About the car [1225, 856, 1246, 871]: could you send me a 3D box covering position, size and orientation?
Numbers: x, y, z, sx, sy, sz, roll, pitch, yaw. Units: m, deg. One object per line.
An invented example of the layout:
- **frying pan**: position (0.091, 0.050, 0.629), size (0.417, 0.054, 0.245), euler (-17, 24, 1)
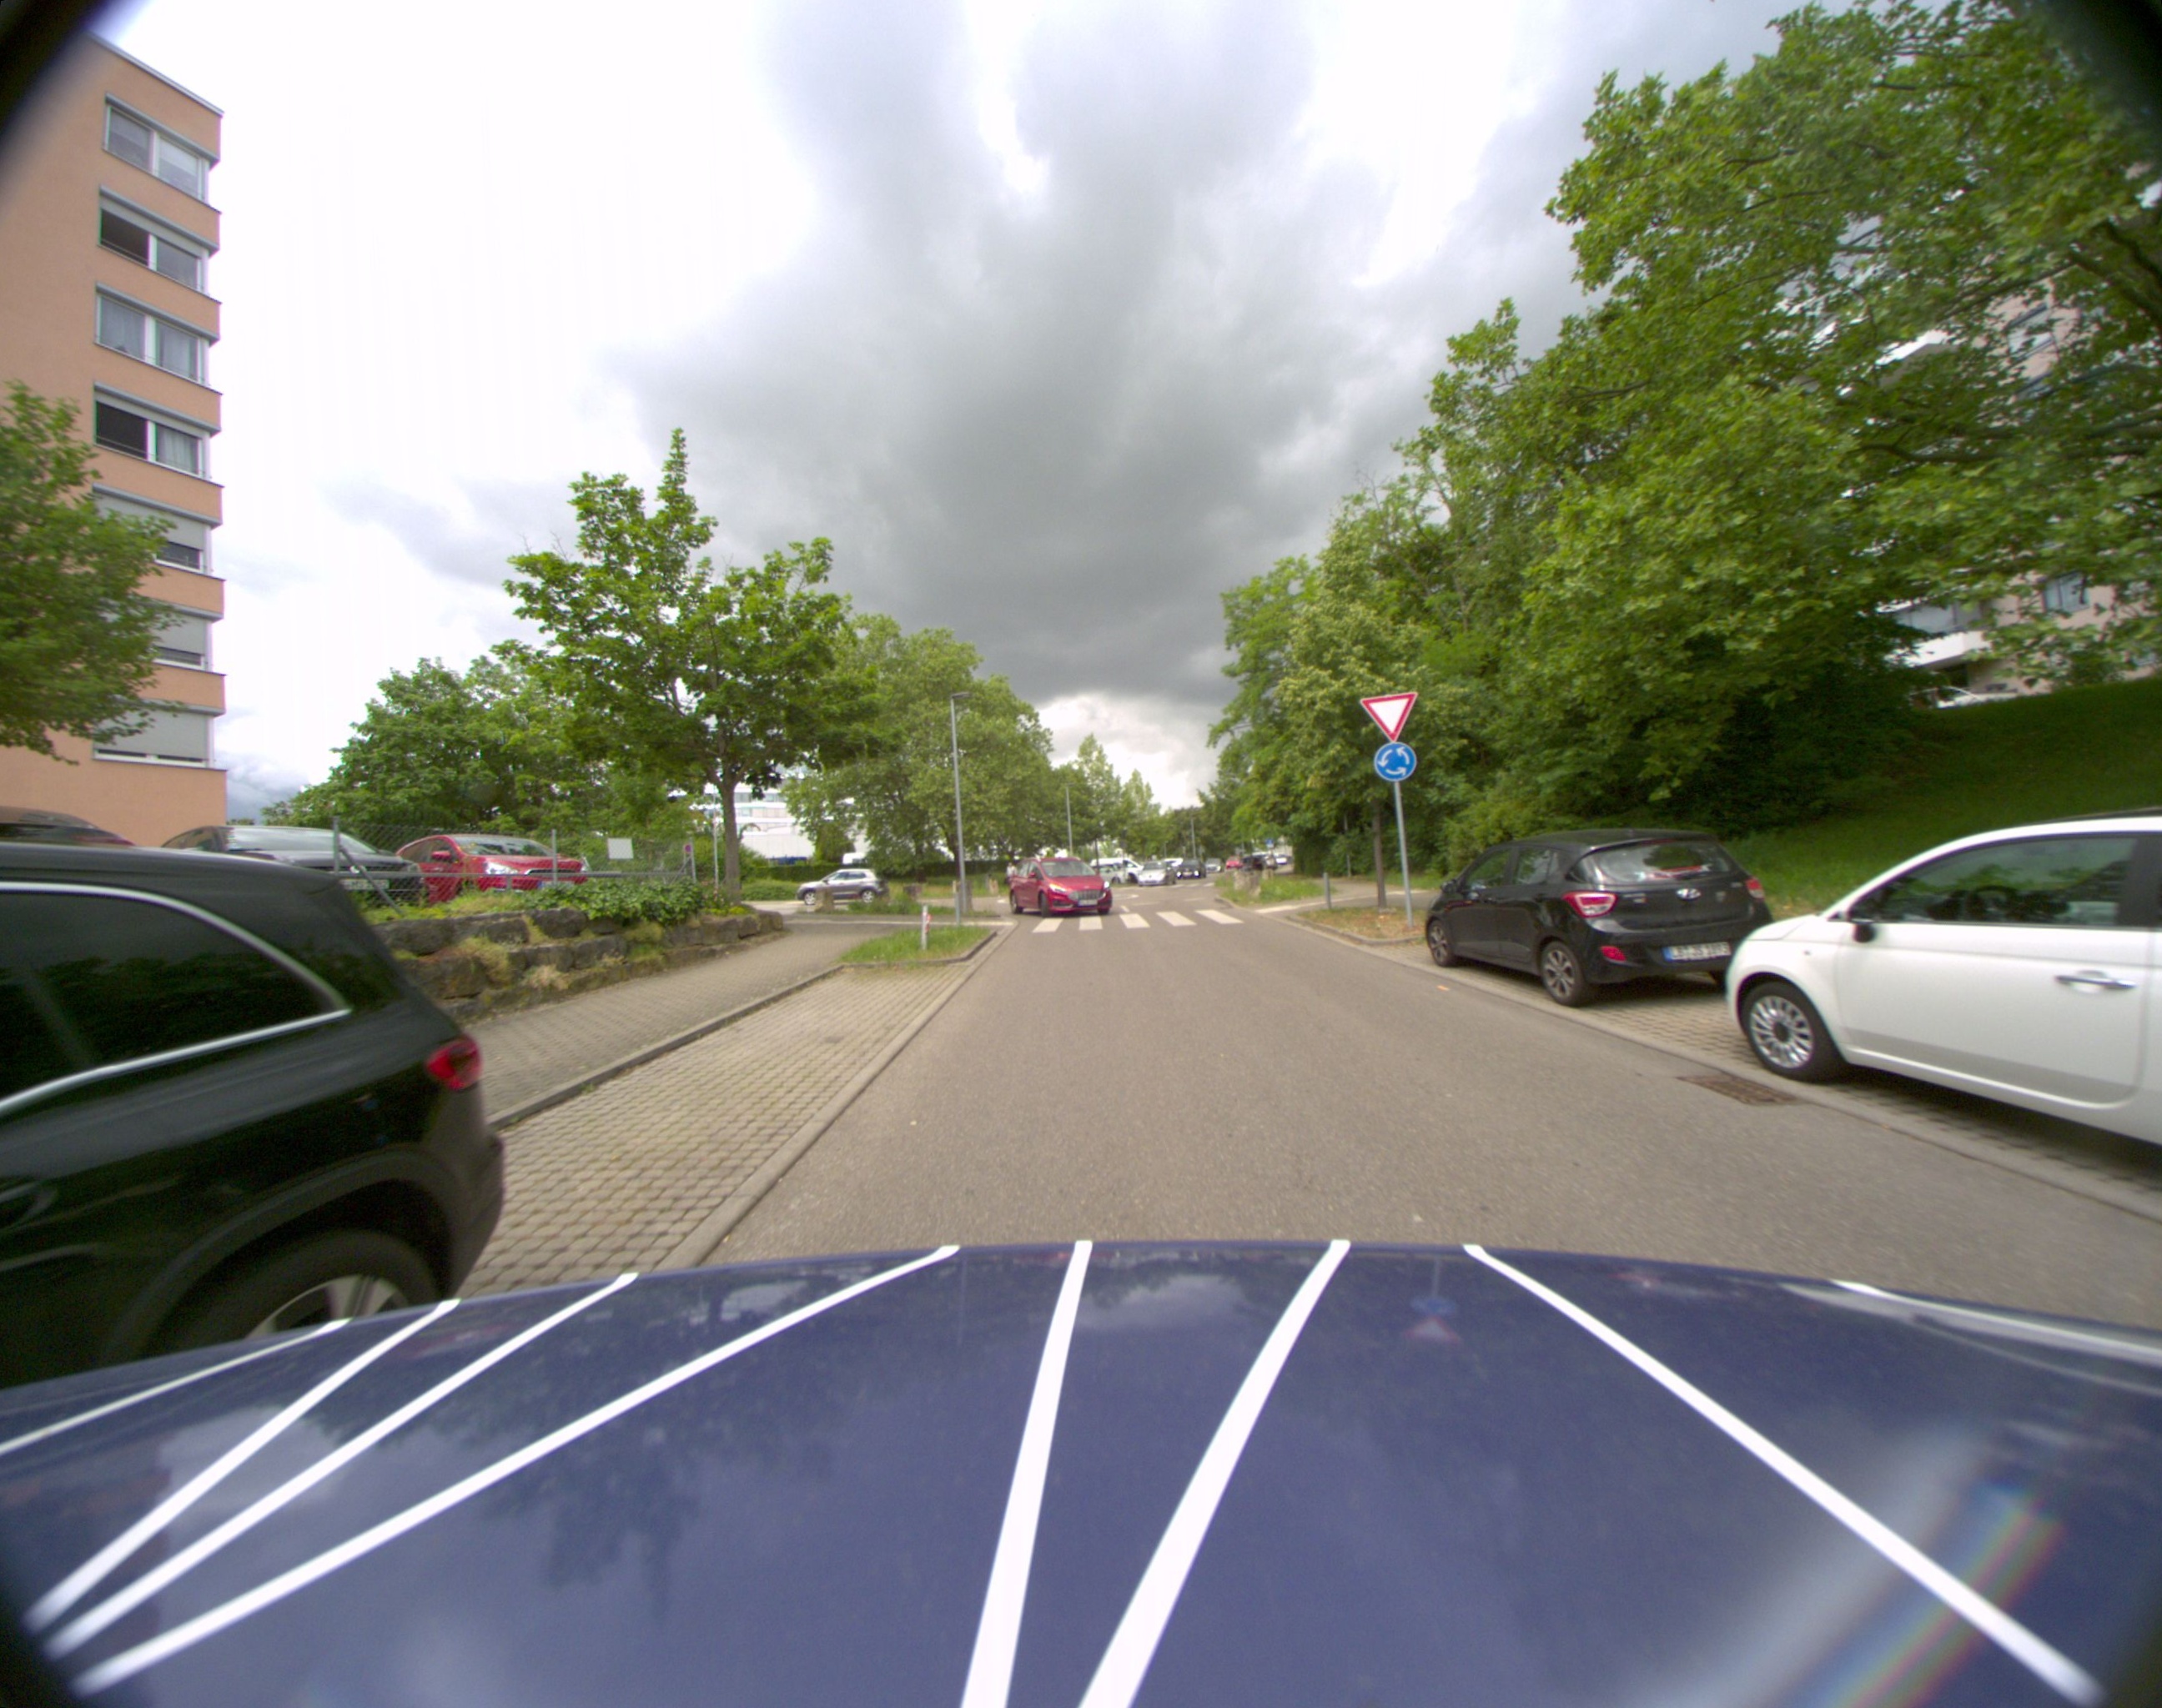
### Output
- **car**: position (18.886, 1.146, 92.692), size (1.756, 1.606, 4.006), euler (-5, -1, 22)

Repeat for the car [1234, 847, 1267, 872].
- **car**: position (11.569, 0.379, 51.601), size (1.692, 1.456, 4.462), euler (-7, -2, 17)

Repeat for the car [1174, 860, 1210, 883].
- **car**: position (8.694, 1.354, 59.021), size (1.756, 1.606, 4.006), euler (-5, -1, 22)

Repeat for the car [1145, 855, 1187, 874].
- **car**: position (8.213, 1.042, 73.322), size (3.674, 1.637, 1.854), euler (-3, -1, 19)

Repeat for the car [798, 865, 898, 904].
- **car**: position (-10.621, 1.376, 34.858), size (4.008, 1.608, 1.722), euler (-2, 0, -4)

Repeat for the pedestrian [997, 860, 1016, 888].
- **pedestrian**: position (-4.571, 1.227, 46.476), size (0.870, 1.647, 0.594), euler (-4, -1, 16)

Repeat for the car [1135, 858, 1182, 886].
- **car**: position (4.912, 1.097, 47.777), size (1.756, 1.506, 4.006), euler (-5, -1, 22)

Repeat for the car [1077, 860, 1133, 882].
- **car**: position (1.683, 1.170, 52.704), size (3.516, 1.452, 1.741), euler (-2, 0, 17)

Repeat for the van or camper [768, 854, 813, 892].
- **van or camper**: position (-23.522, 1.580, 61.415), size (2.118, 2.781, 4.470), euler (-3, -2, -36)

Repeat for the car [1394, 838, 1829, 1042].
- **car**: position (4.988, 0.675, 7.971), size (1.790, 1.459, 4.000), euler (-5, 0, 3)

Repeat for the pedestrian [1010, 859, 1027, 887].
- **pedestrian**: position (-3.803, 1.178, 46.273), size (0.689, 1.646, 0.601), euler (-5, -1, 16)

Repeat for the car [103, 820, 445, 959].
- **car**: position (-10.243, 0.477, 9.654), size (3.792, 1.413, 1.687), euler (-5, -1, 22)

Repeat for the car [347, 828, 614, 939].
- **car**: position (-9.504, 0.487, 12.040), size (3.654, 1.430, 1.687), euler (-5, -1, 22)

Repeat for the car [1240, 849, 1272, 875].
- **car**: position (13.180, 0.547, 57.028), size (1.802, 1.606, 4.483), euler (-7, -1, 17)

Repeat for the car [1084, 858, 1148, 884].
- **car**: position (2.537, 1.209, 54.802), size (4.157, 1.592, 1.741), euler (-4, -1, 16)

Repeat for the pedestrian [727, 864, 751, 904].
- **pedestrian**: position (-14.638, 1.285, 32.524), size (0.838, 1.656, 0.616), euler (3, 2, 36)

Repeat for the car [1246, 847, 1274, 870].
- **car**: position (14.745, 0.383, 62.326), size (1.810, 1.654, 4.443), euler (-7, -2, 17)

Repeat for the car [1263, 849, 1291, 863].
- **car**: position (27.791, 0.278, 107.795), size (1.674, 1.630, 3.994), euler (-4, -1, -24)

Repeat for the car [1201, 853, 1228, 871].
- **car**: position (13.489, 0.768, 76.544), size (1.756, 1.606, 4.006), euler (-5, -1, 22)

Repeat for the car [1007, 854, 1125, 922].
- **car**: position (-0.563, 0.906, 21.567), size (1.982, 1.635, 4.529), euler (-3, 0, -19)

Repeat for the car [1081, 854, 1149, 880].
- **car**: position (2.560, 0.973, 57.605), size (4.780, 1.821, 1.845), euler (-2, 0, 16)

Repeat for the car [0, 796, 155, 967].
- **car**: position (-11.060, 0.372, 7.311), size (3.654, 1.489, 1.687), euler (-5, -1, 22)

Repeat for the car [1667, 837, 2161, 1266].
- **car**: position (4.850, 0.708, 3.252), size (1.889, 1.451, 3.547), euler (-5, -1, 1)

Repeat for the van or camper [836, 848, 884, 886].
- **van or camper**: position (-17.798, 1.087, 61.074), size (2.118, 2.781, 4.470), euler (-3, -2, -36)
